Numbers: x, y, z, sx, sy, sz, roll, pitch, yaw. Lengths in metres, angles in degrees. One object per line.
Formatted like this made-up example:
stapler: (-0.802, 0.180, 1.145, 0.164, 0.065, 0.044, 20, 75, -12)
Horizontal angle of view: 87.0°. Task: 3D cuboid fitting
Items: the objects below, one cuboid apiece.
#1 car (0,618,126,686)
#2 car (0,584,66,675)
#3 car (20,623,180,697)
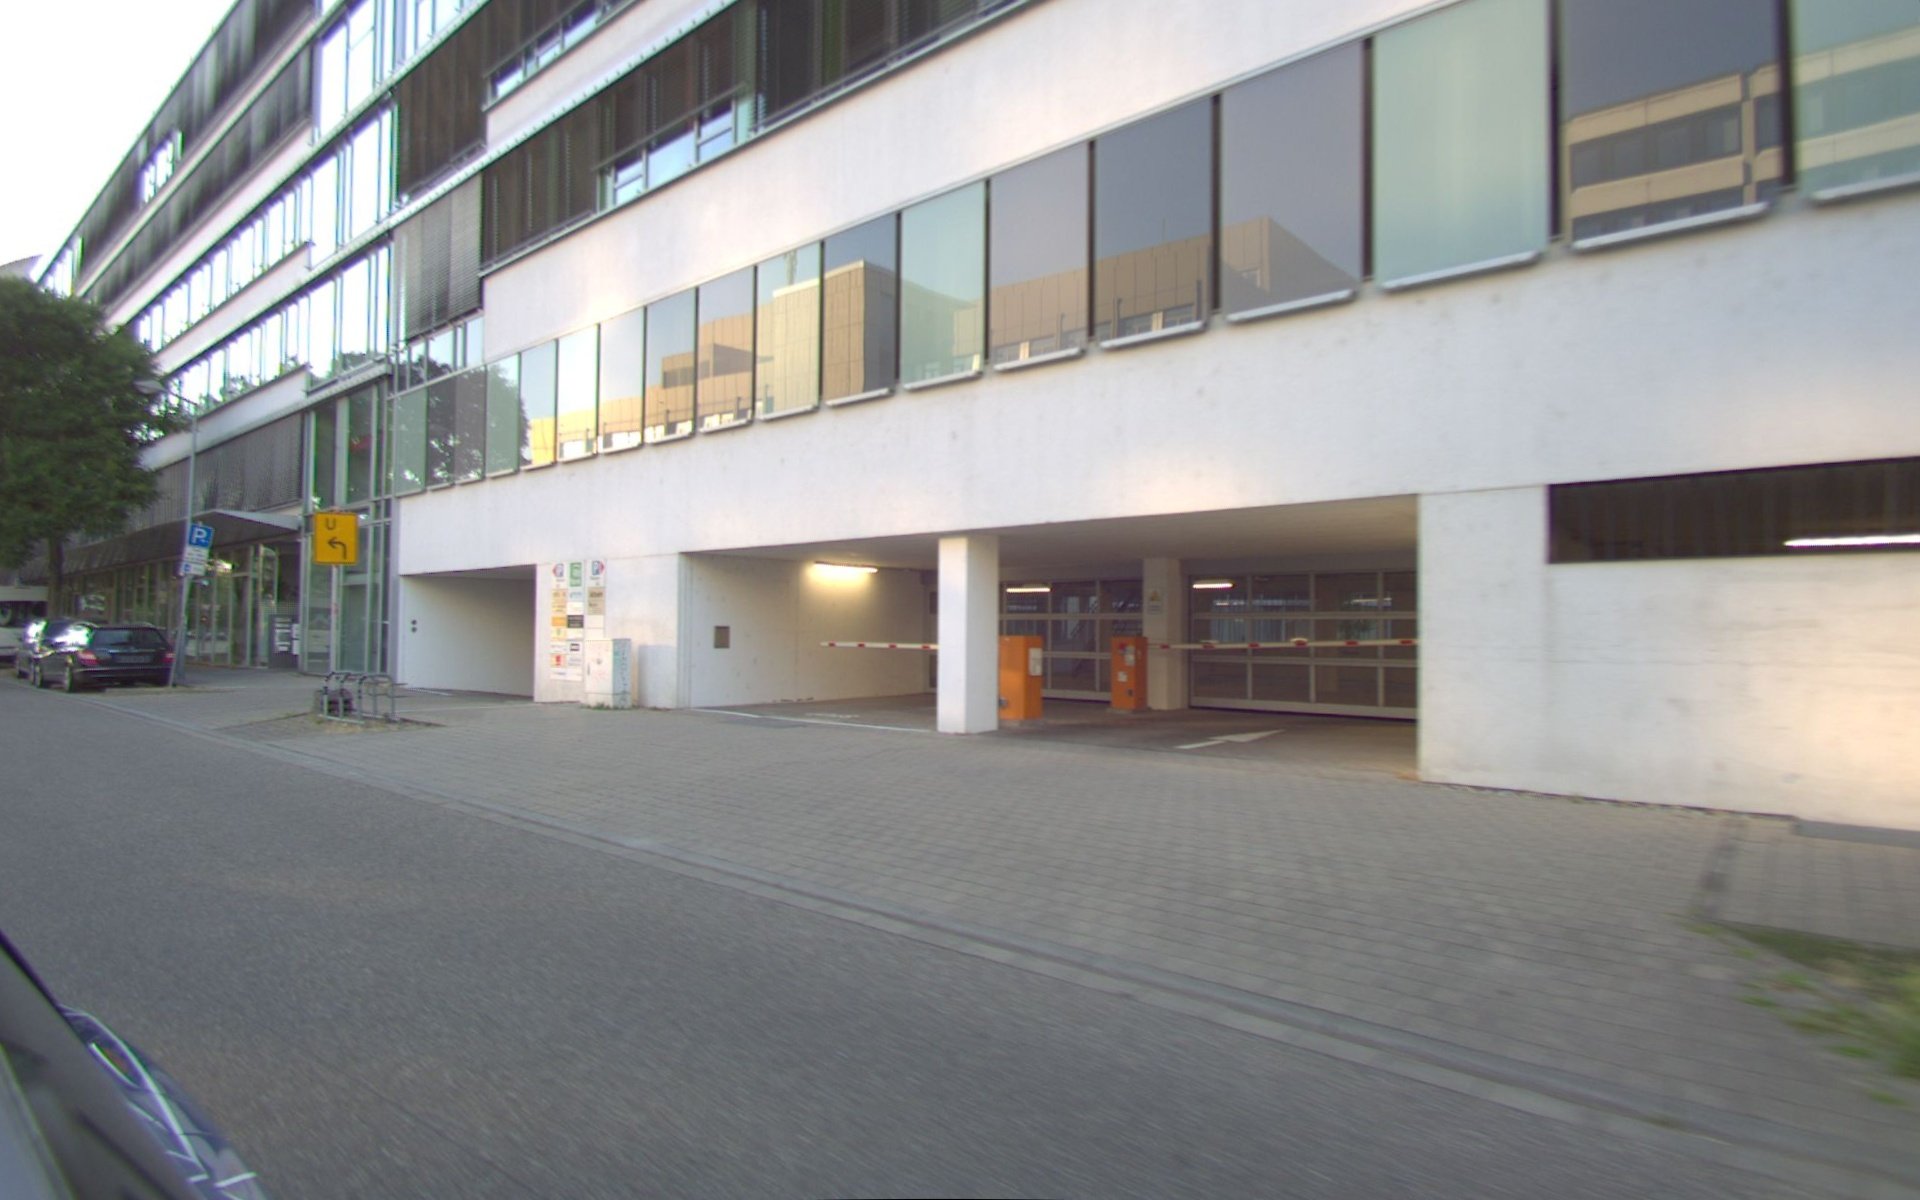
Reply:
car: (-22.767, 1.283, 25.631, 4.264, 1.583, 1.825, -2, -3, 41)
car: (-30.928, 0.979, 32.707, 6.946, 2.684, 2.079, -2, -3, 41)
car: (-18.815, 1.267, 22.085, 4.390, 1.463, 1.699, -2, -2, 36)
